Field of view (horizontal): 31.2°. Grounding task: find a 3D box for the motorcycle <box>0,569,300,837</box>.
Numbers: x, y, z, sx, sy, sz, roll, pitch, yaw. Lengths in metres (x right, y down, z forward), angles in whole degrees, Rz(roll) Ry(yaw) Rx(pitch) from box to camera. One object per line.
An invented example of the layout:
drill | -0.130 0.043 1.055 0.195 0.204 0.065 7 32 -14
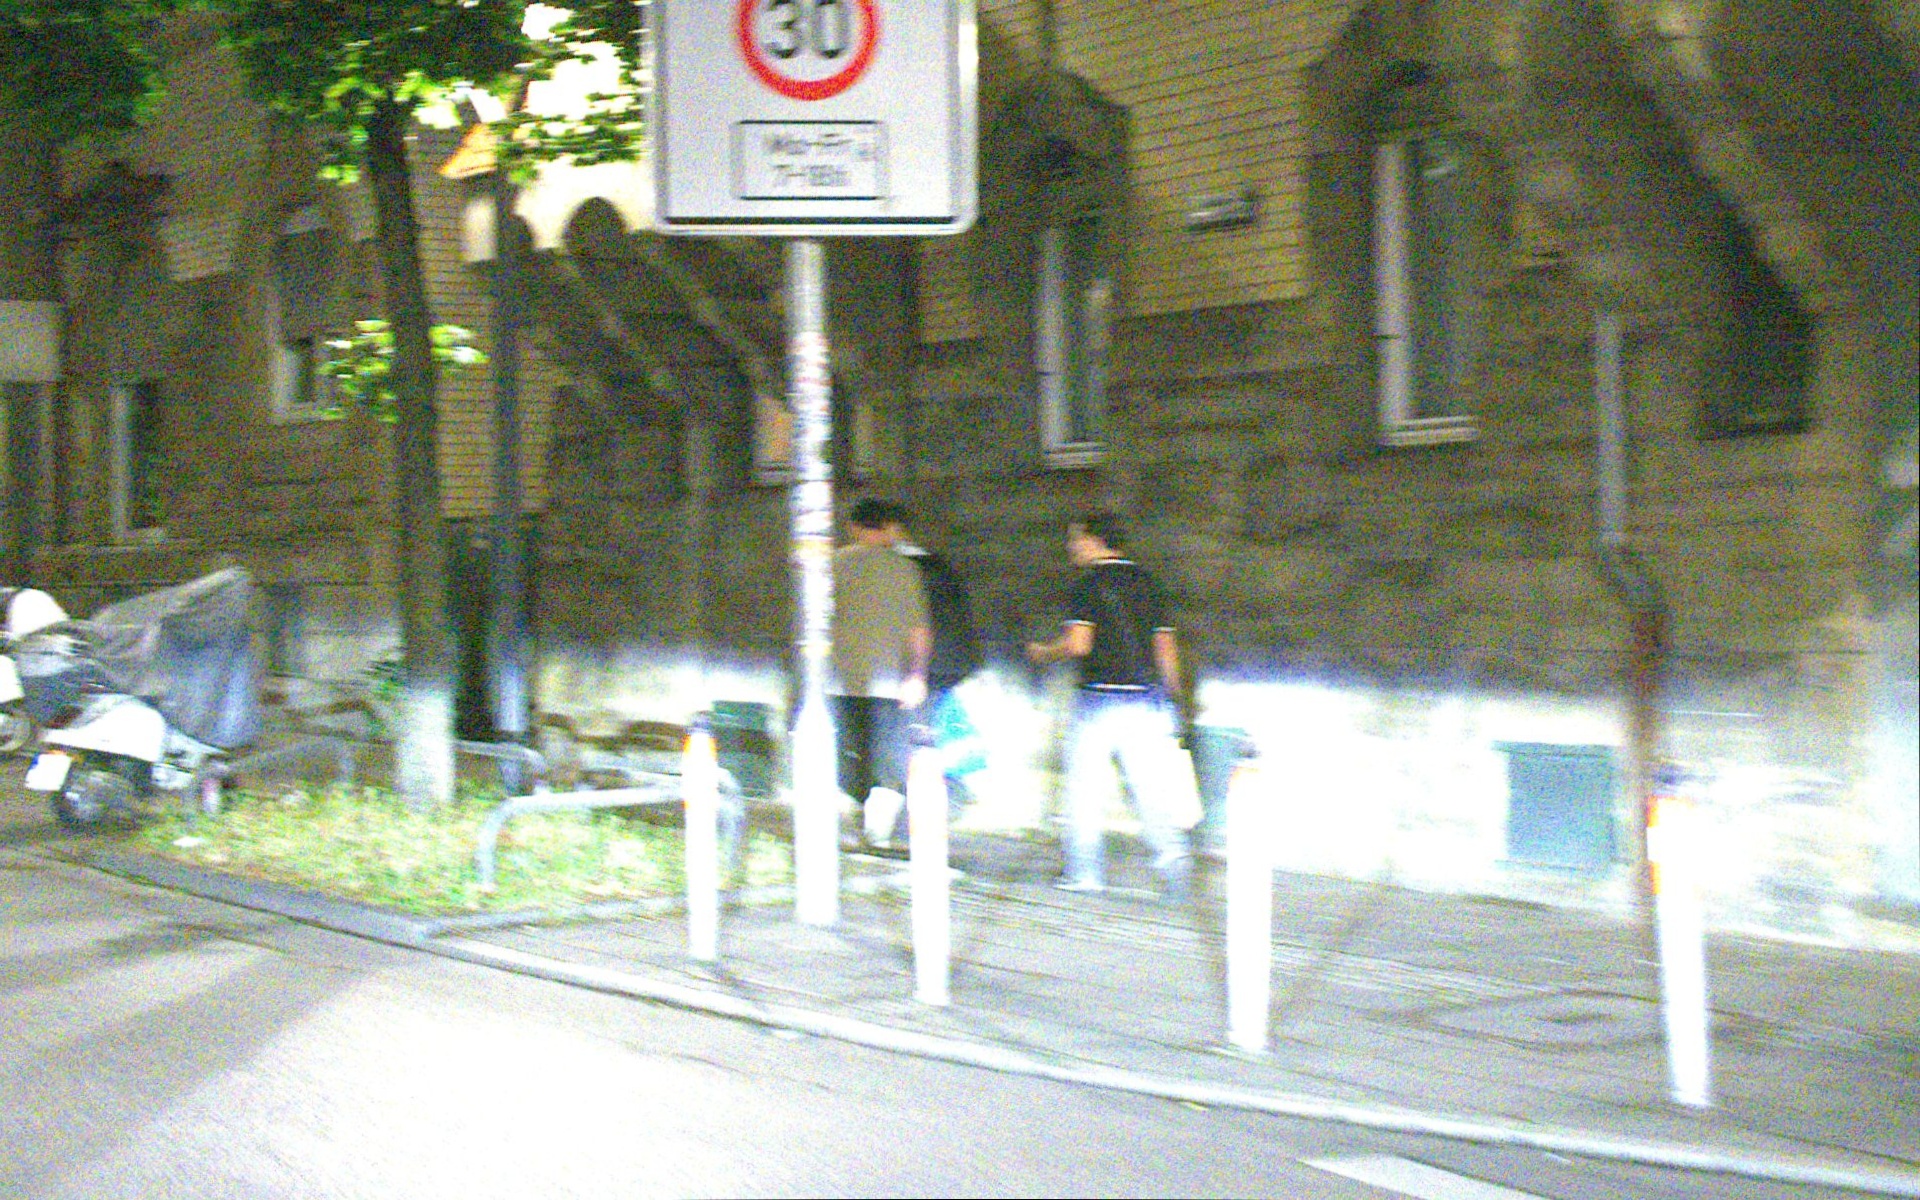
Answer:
motorcycle | -4.477 0.522 18.751 0.761 1.348 1.942 0 1 23

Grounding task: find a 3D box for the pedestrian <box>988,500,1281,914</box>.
pedestrian | 0.708 0.413 14.119 0.807 1.625 0.966 0 1 -30

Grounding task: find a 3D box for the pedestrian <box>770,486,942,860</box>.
pedestrian | -0.489 0.325 16.093 0.507 1.703 0.705 -1 1 -31

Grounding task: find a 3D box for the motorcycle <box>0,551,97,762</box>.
motorcycle | -7.028 0.402 23.293 2.054 1.401 0.924 -3 3 -41

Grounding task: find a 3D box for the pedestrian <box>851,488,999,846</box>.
pedestrian | -0.173 0.312 16.731 0.476 1.703 0.571 -1 1 -31
